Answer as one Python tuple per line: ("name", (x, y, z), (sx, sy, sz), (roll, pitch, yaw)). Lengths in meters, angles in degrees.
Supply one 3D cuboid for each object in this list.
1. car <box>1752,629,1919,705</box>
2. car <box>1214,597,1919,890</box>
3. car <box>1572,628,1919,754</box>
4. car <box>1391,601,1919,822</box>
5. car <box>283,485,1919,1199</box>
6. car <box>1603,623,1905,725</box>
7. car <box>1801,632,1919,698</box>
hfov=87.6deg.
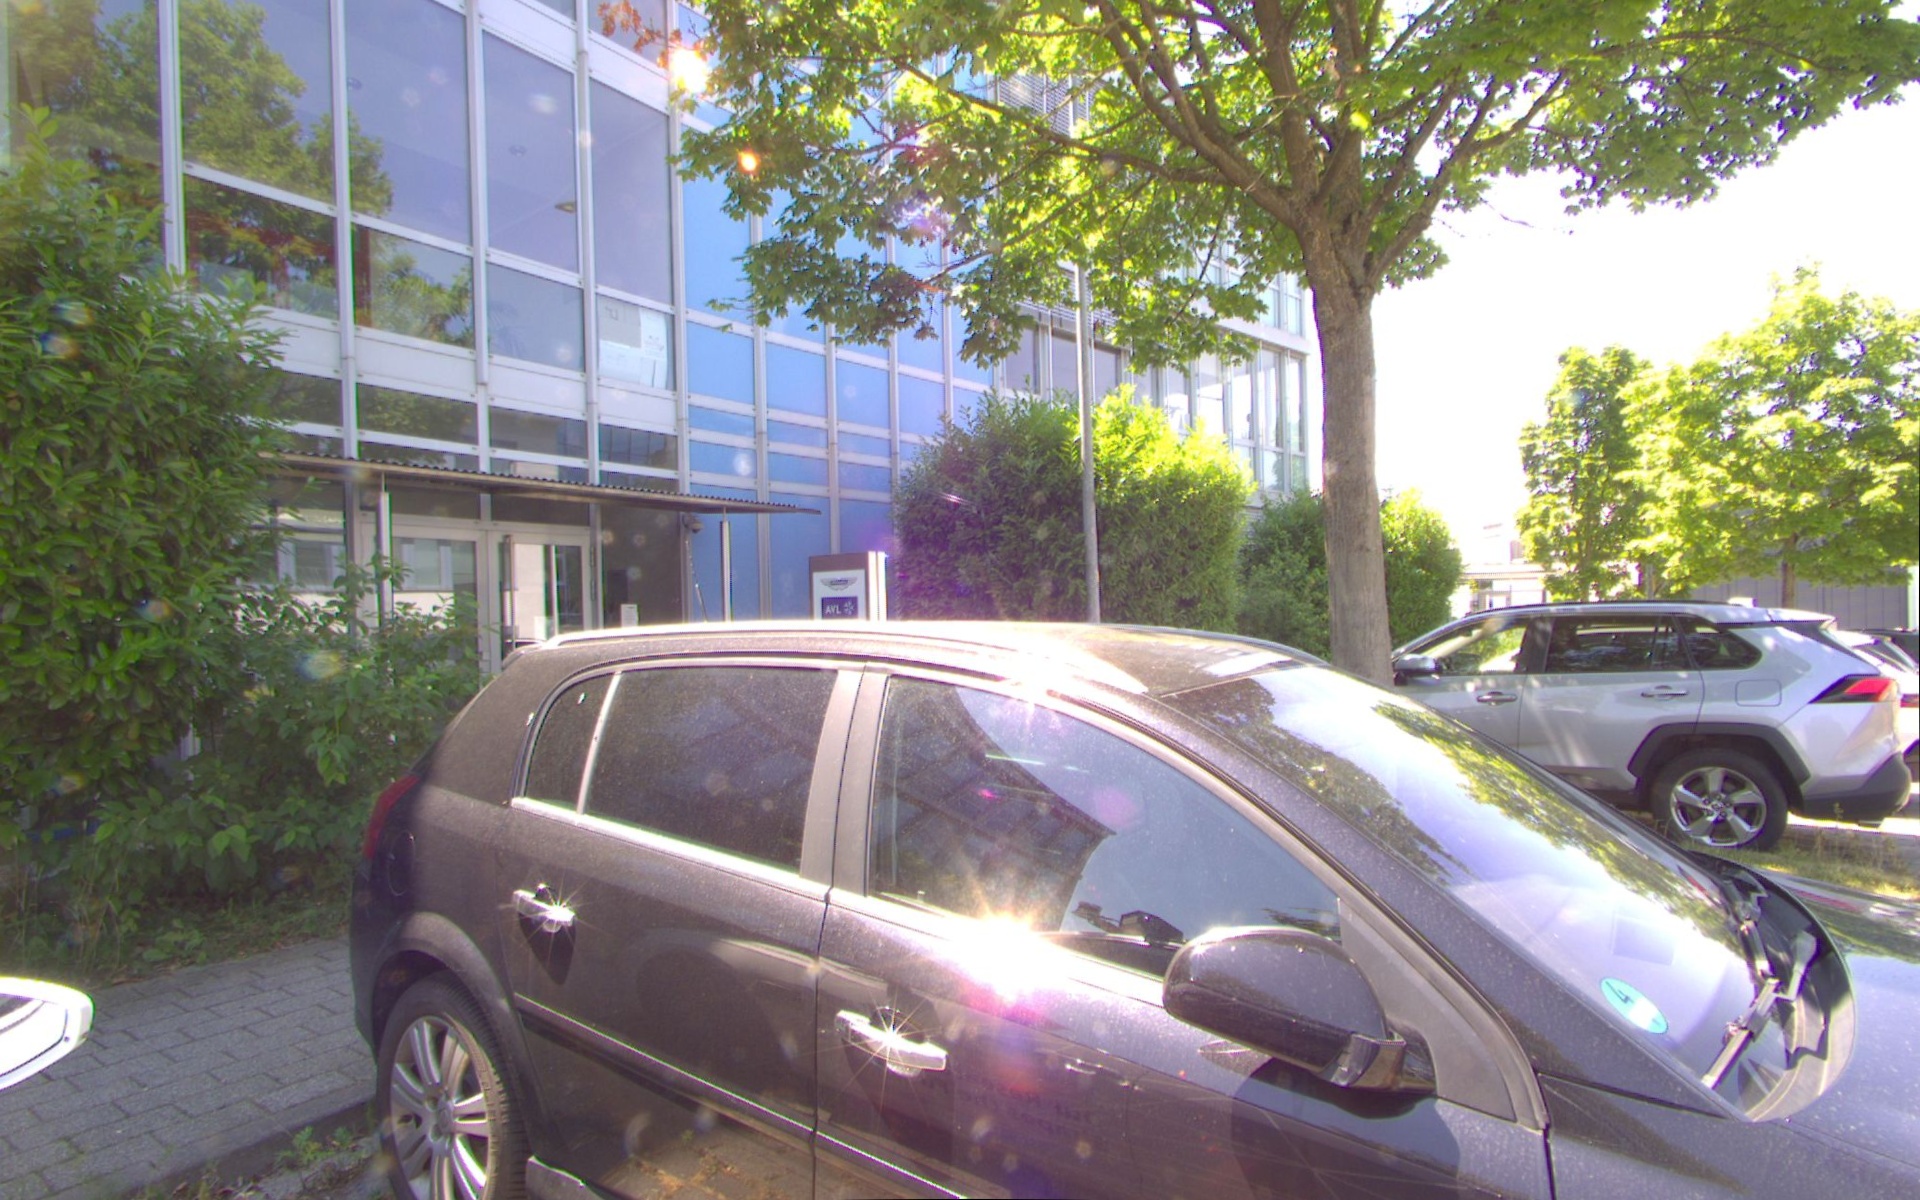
("car", (20.186, 1.457, 22.377), (1.614, 1.545, 3.566), (1, -1, -34))
("car", (4.374, 0.835, 7.767), (4.278, 1.664, 1.844), (0, -1, 39))
("car", (11.403, 1.201, 14.430), (1.645, 1.505, 4.136), (2, -1, -44))
("car", (6.448, 0.872, 9.381), (4.150, 1.664, 1.649), (0, -1, 39))
("car", (0.457, 0.731, 2.134), (4.506, 1.569, 1.753), (-1, -2, 36))
("car", (14.661, 1.287, 18.704), (1.641, 1.626, 4.145), (1, -1, -38))
("car", (22.254, 1.519, 23.496), (1.614, 1.462, 3.566), (1, -1, -34))
